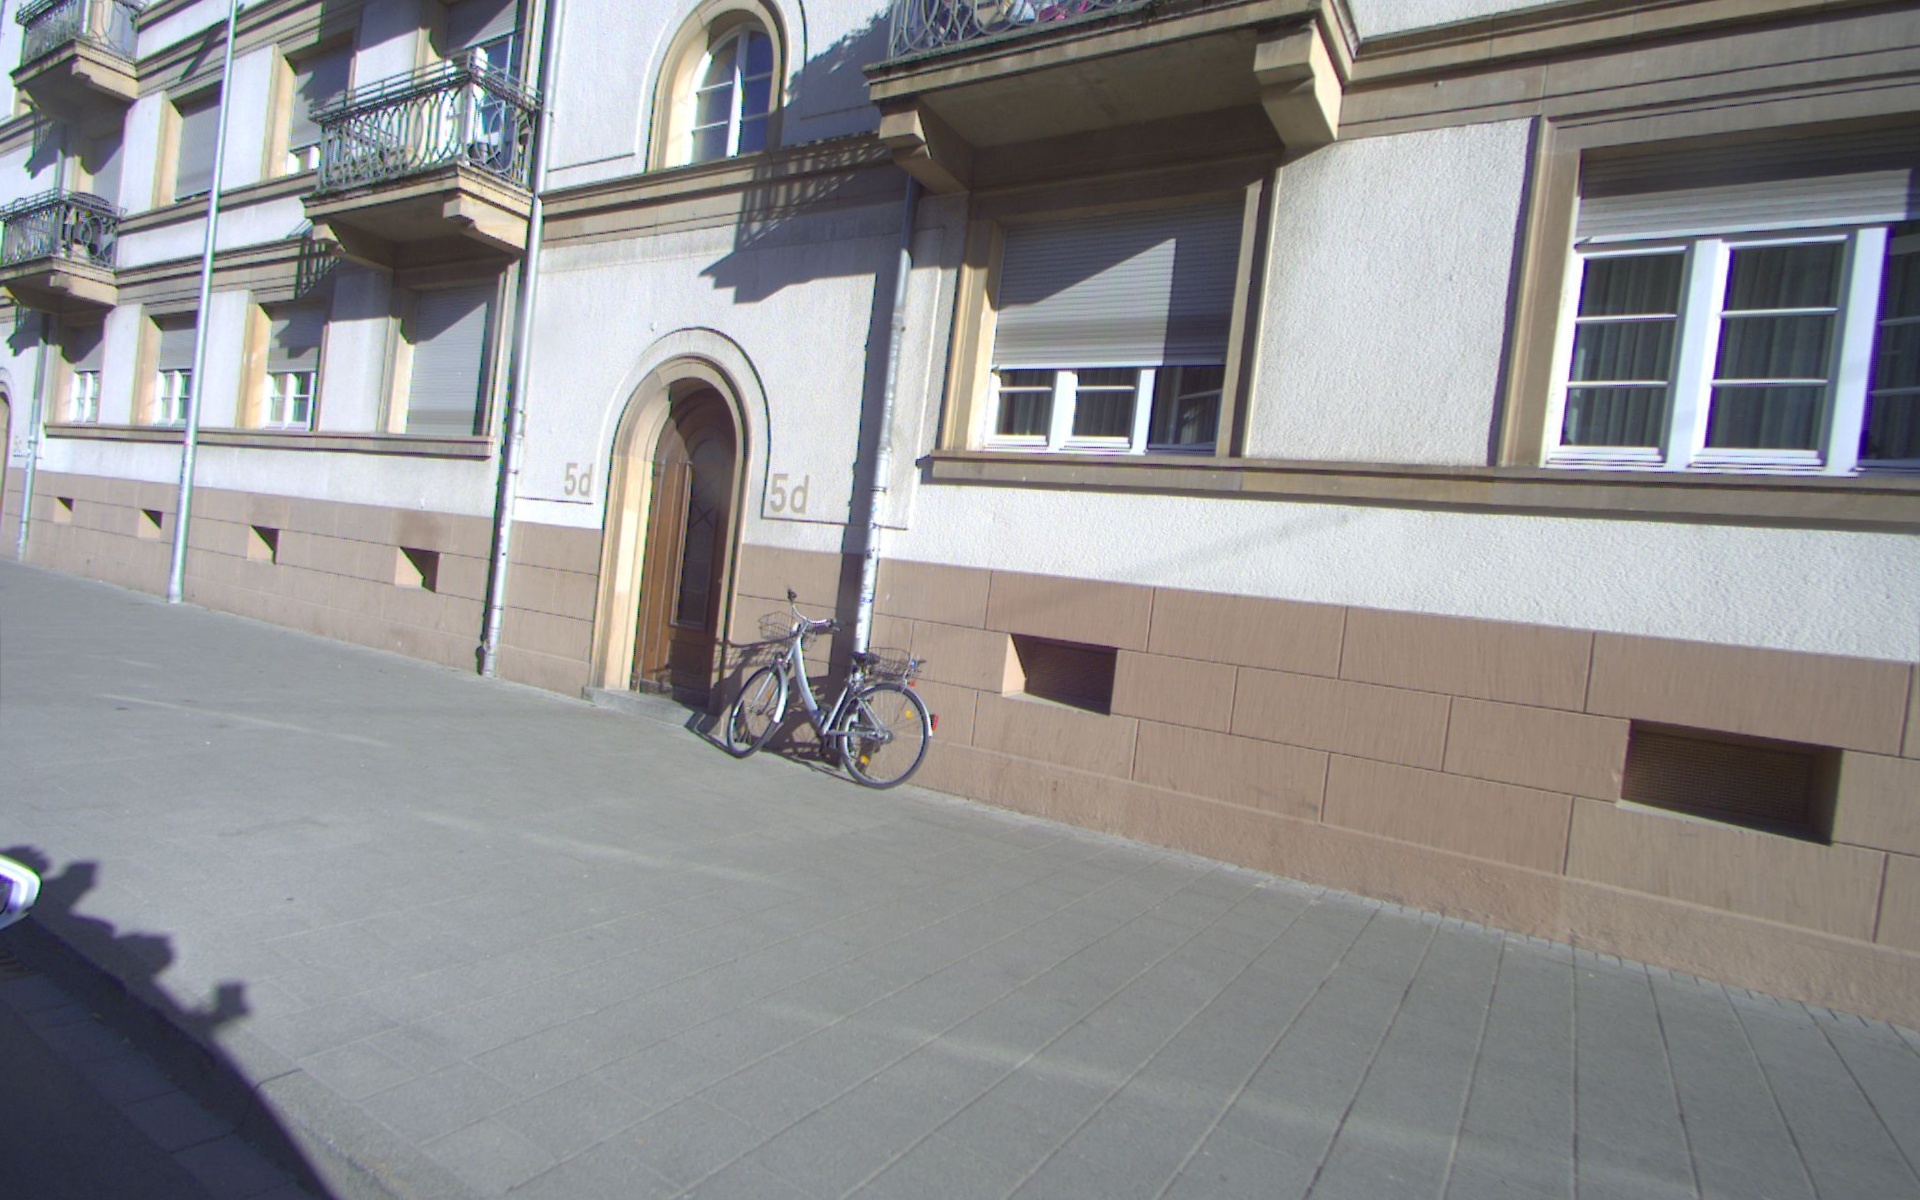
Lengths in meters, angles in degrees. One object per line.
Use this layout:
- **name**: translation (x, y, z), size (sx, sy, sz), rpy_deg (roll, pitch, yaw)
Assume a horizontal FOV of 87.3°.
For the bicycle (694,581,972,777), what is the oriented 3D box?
- **bicycle**: translation (-0.993, 0.529, 7.421), size (2.162, 1.109, 0.418), rpy_deg (7, 1, 32)
